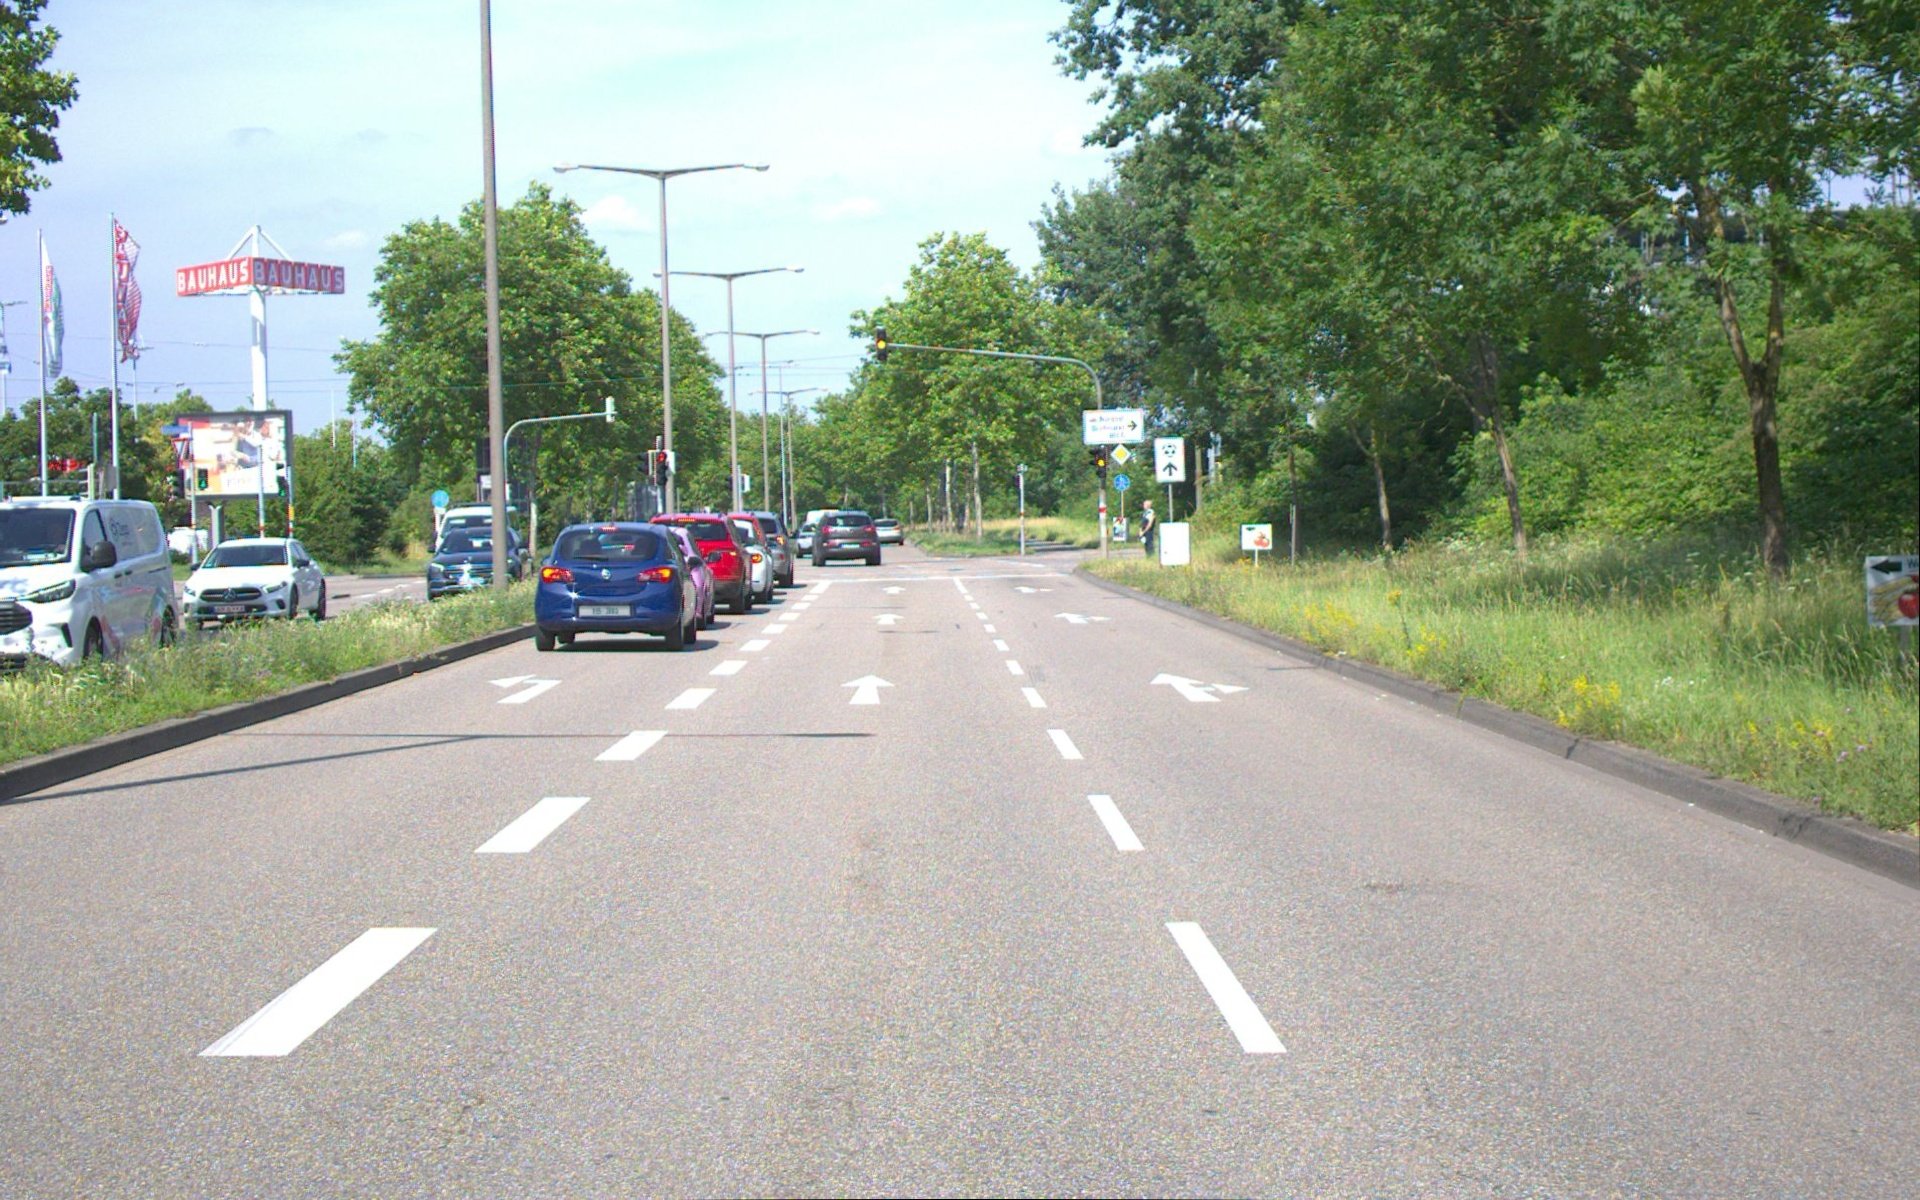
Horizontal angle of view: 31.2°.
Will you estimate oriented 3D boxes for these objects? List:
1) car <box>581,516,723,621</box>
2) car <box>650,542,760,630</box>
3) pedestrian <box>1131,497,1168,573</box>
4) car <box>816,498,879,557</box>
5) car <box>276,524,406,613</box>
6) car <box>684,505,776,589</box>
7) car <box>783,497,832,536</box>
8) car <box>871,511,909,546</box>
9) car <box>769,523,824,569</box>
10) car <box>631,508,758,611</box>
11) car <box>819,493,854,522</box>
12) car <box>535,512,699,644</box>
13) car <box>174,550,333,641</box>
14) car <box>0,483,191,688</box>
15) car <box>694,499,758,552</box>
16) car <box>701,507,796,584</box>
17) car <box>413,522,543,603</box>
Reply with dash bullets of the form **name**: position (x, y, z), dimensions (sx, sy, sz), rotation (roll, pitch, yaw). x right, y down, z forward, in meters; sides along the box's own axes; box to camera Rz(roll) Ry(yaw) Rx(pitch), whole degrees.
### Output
- **car**: position (-4.288, -0.478, 48.398), dimensions (1.702, 1.385, 4.473), rotation (0, 1, -1)
- **car**: position (-4.496, -0.273, 61.106), dimensions (1.766, 1.474, 4.136), rotation (0, 1, -2)
- **pedestrian**: position (4.891, -1.674, 88.584), dimensions (0.837, 1.926, 0.772), rotation (-1, 3, -4)
- **car**: position (-3.295, -2.146, 101.225), dimensions (1.736, 1.530, 4.001), rotation (-1, 4, -1)
- **car**: position (-12.506, -0.654, 69.679), dimensions (1.977, 1.687, 4.001), rotation (-2, 1, -2)
- **car**: position (-4.548, -1.045, 68.322), dimensions (1.628, 1.590, 3.918), rotation (-1, 0, -1)
- **car**: position (-6.917, -3.788, 156.340), dimensions (1.993, 1.702, 4.264), rotation (-2, 1, 0)
- **car**: position (-3.753, -3.841, 184.327), dimensions (1.874, 1.769, 4.000), rotation (-2, 1, 0)
- **car**: position (-6.500, -2.159, 137.055), dimensions (1.993, 1.738, 4.266), rotation (-2, 1, -1)
- **car**: position (-4.245, -0.694, 55.538), dimensions (1.782, 1.587, 4.594), rotation (0, 2, -1)
- **car**: position (-7.769, -5.817, 216.298), dimensions (1.874, 1.769, 4.001), rotation (-2, 1, -6)
- **car**: position (-4.014, -0.299, 40.701), dimensions (1.626, 1.478, 4.049), rotation (0, 1, -1)
- **car**: position (-11.830, -0.104, 57.810), dimensions (1.787, 1.393, 4.359), rotation (-3, 1, -1)
- **car**: position (-9.355, -0.174, 34.615), dimensions (2.116, 1.877, 5.420), rotation (-2, 1, -2)
- **car**: position (-8.526, -2.738, 125.641), dimensions (1.993, 1.853, 4.000), rotation (-2, 1, 1)
- **car**: position (-4.590, -1.206, 74.982), dimensions (1.881, 1.612, 4.213), rotation (-1, 1, -1)
- **car**: position (-9.753, -0.794, 69.848), dimensions (1.993, 1.525, 4.683), rotation (-2, 1, -1)
